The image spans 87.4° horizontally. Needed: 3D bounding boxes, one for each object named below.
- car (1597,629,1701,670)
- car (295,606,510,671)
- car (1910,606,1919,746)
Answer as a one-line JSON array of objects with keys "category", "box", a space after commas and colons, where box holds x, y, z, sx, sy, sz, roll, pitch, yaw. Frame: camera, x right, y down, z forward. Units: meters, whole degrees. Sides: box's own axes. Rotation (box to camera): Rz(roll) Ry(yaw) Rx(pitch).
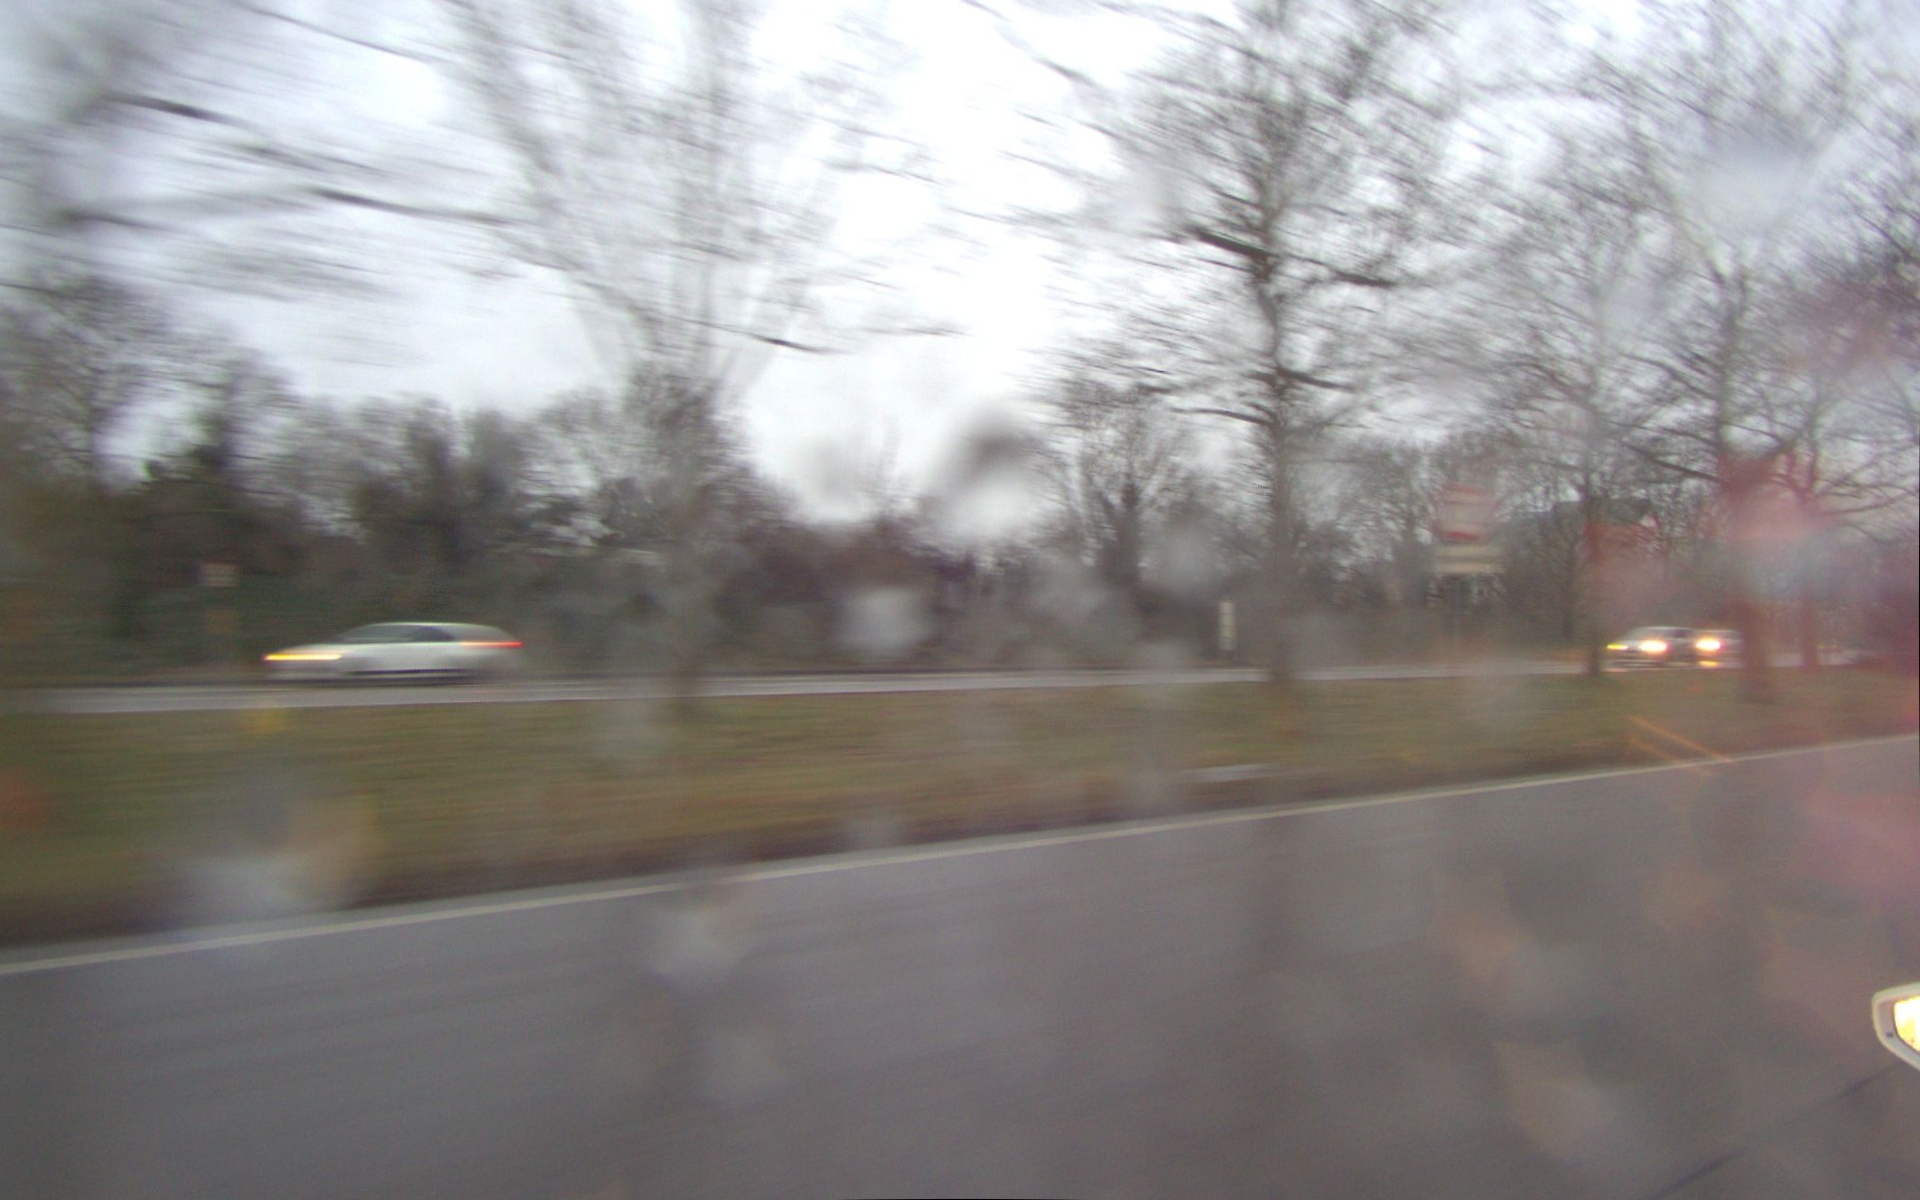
[{"category": "car", "box": [26.083, 1.881, 38.022, 3.931, 1.444, 1.740, 2, -2, -30]}, {"category": "car", "box": [-12.984, 0.909, 23.606, 4.249, 1.413, 1.740, 2, -2, -30]}, {"category": "car", "box": [13.439, 0.955, 11.997, 4.260, 1.623, 1.983, 2, 0, -32]}]
